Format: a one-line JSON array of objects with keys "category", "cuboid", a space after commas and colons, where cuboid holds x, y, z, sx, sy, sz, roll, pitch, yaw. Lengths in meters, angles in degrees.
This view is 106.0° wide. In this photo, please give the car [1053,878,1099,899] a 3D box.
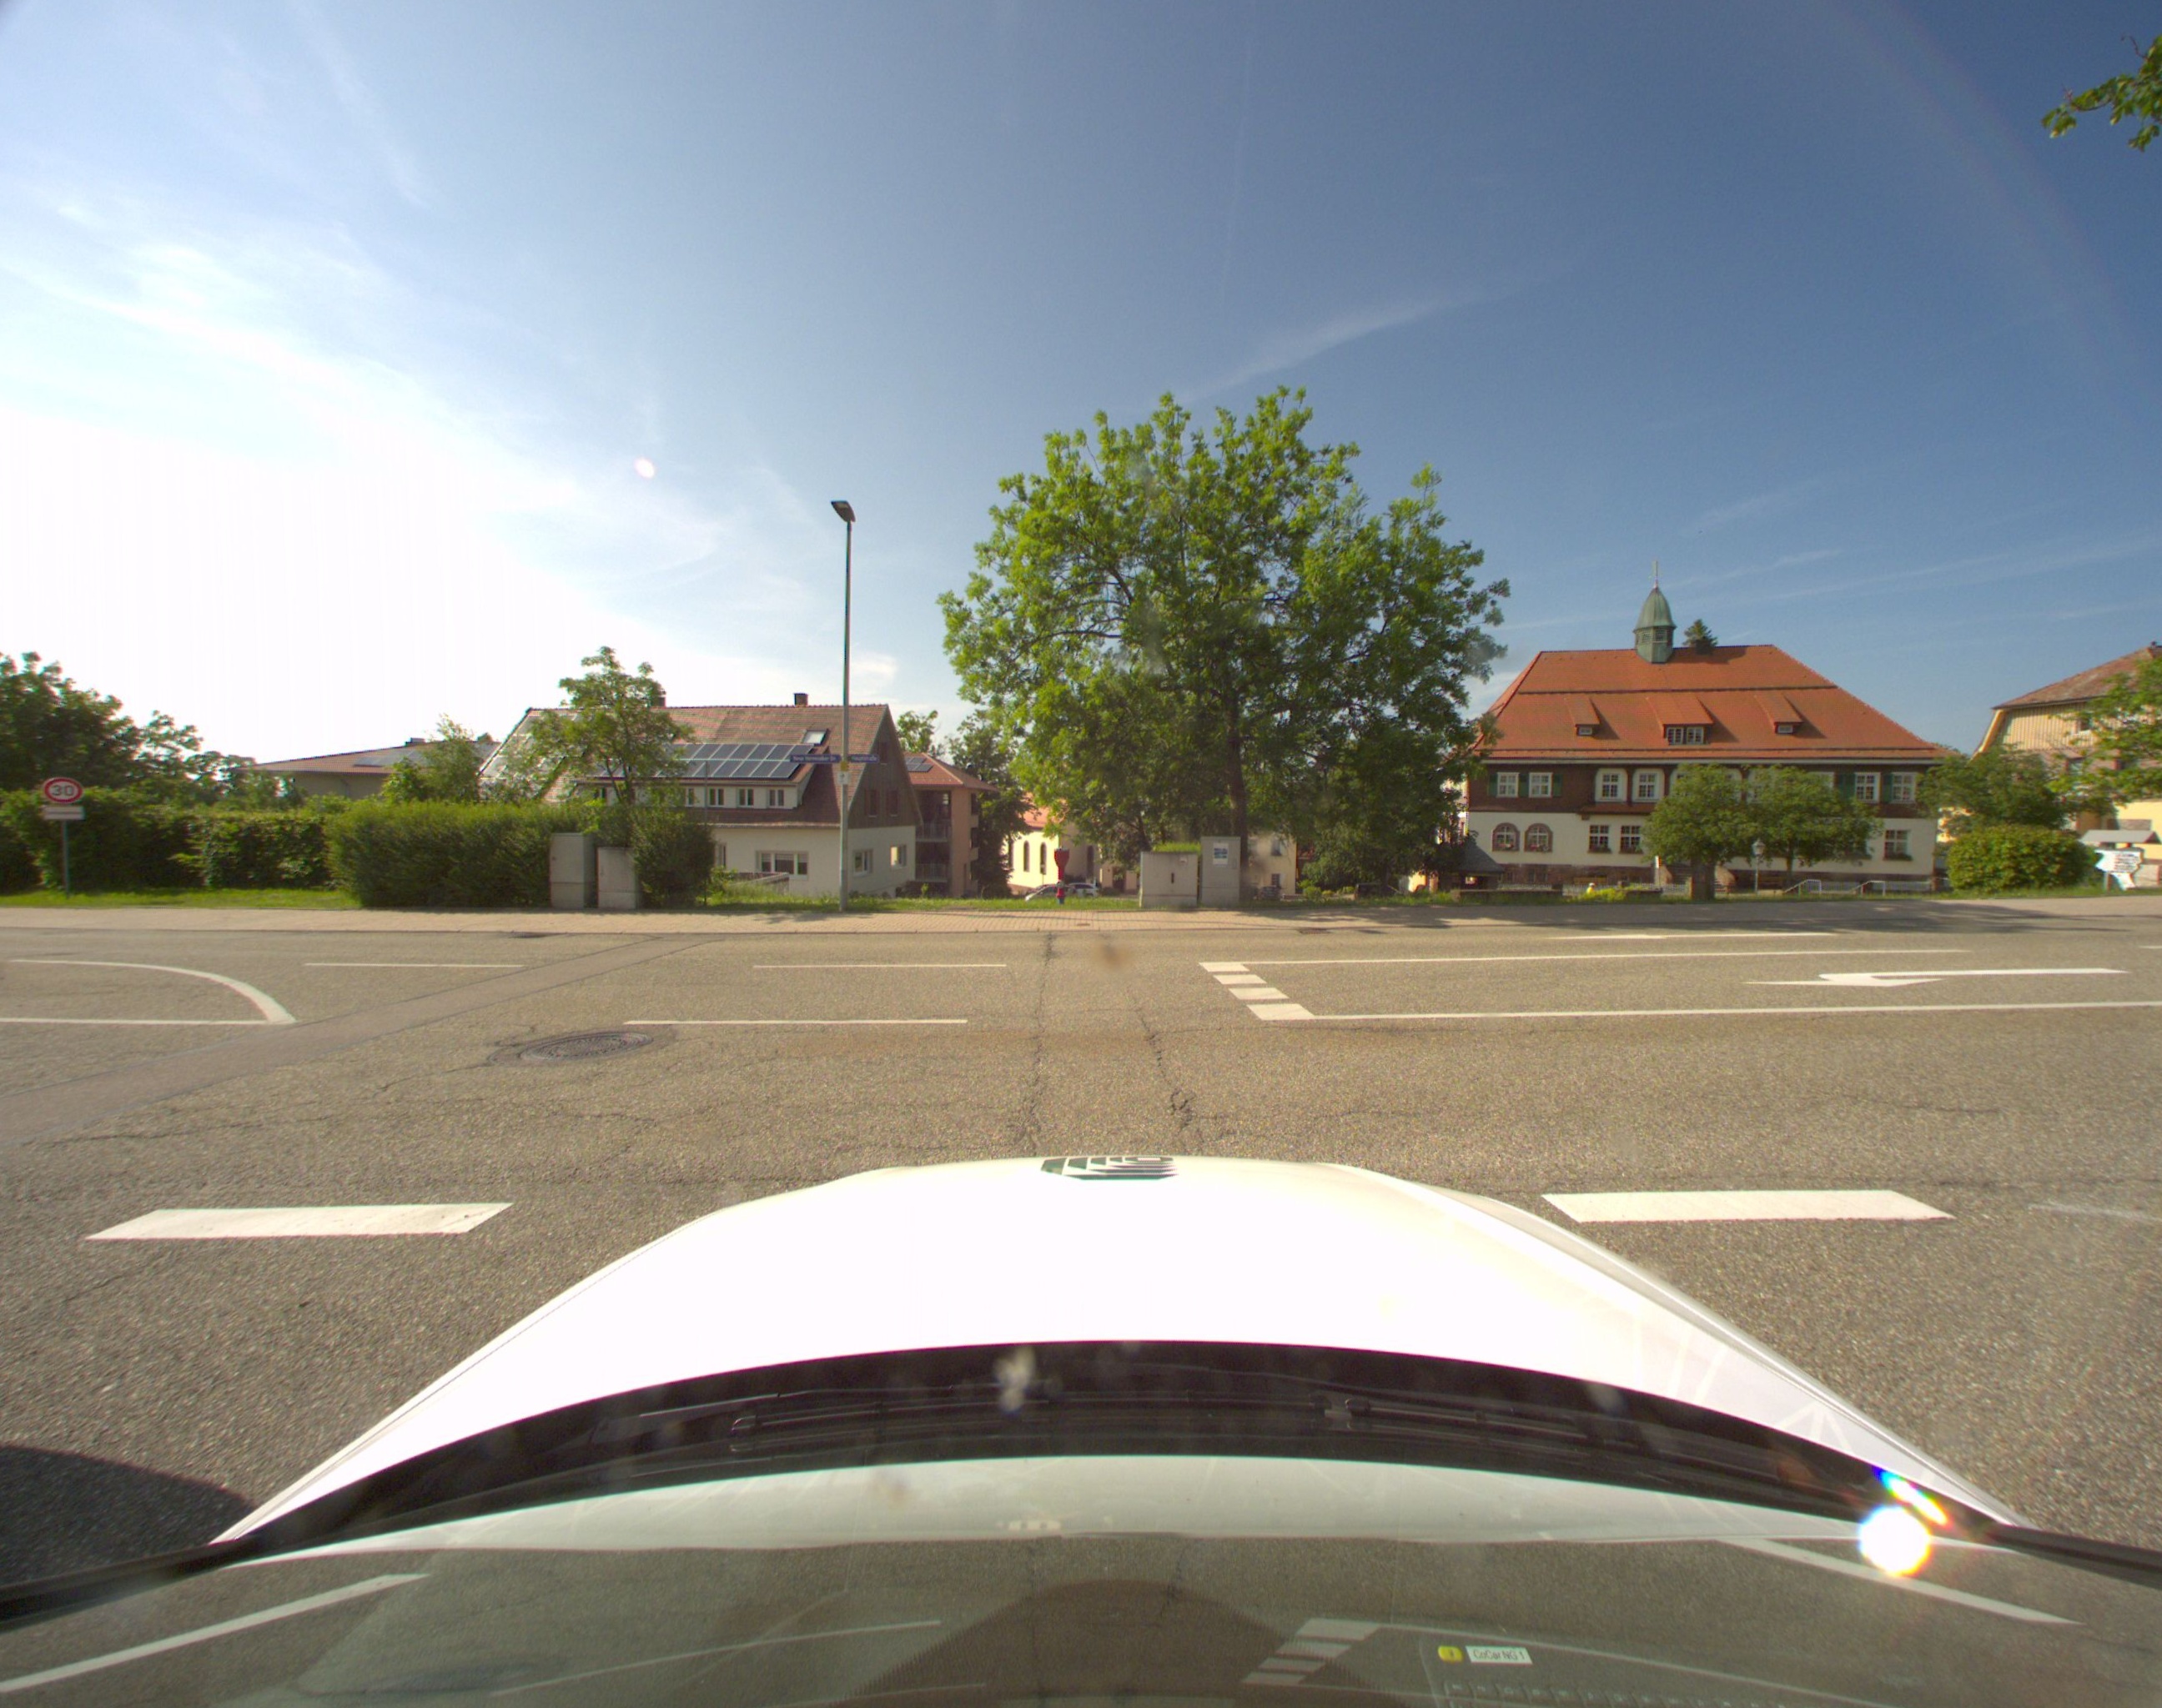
[{"category": "car", "cuboid": [-0.445, 2.891, 68.627, 3.765, 1.593, 1.711, -1, -1, -4]}]

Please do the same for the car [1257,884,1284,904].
[{"category": "car", "cuboid": [15.738, 3.290, 67.648, 1.699, 1.542, 3.791, -1, -1, 6]}]

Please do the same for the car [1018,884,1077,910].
[{"category": "car", "cuboid": [-2.392, 3.043, 57.816, 4.081, 1.758, 1.712, -1, -1, -3]}]

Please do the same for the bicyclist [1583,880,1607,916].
[{"category": "bicyclist", "cuboid": [28.070, 2.402, 44.474, 0.987, 1.925, 0.584, -1, -1, 16]}]

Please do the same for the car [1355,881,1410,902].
[{"category": "car", "cuboid": [22.549, 2.813, 61.029, 3.746, 1.444, 1.720, -1, -1, 14]}]

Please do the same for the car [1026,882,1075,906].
[{"category": "car", "cuboid": [-2.389, 3.113, 63.645, 3.765, 1.758, 1.711, -1, -1, -4]}]
